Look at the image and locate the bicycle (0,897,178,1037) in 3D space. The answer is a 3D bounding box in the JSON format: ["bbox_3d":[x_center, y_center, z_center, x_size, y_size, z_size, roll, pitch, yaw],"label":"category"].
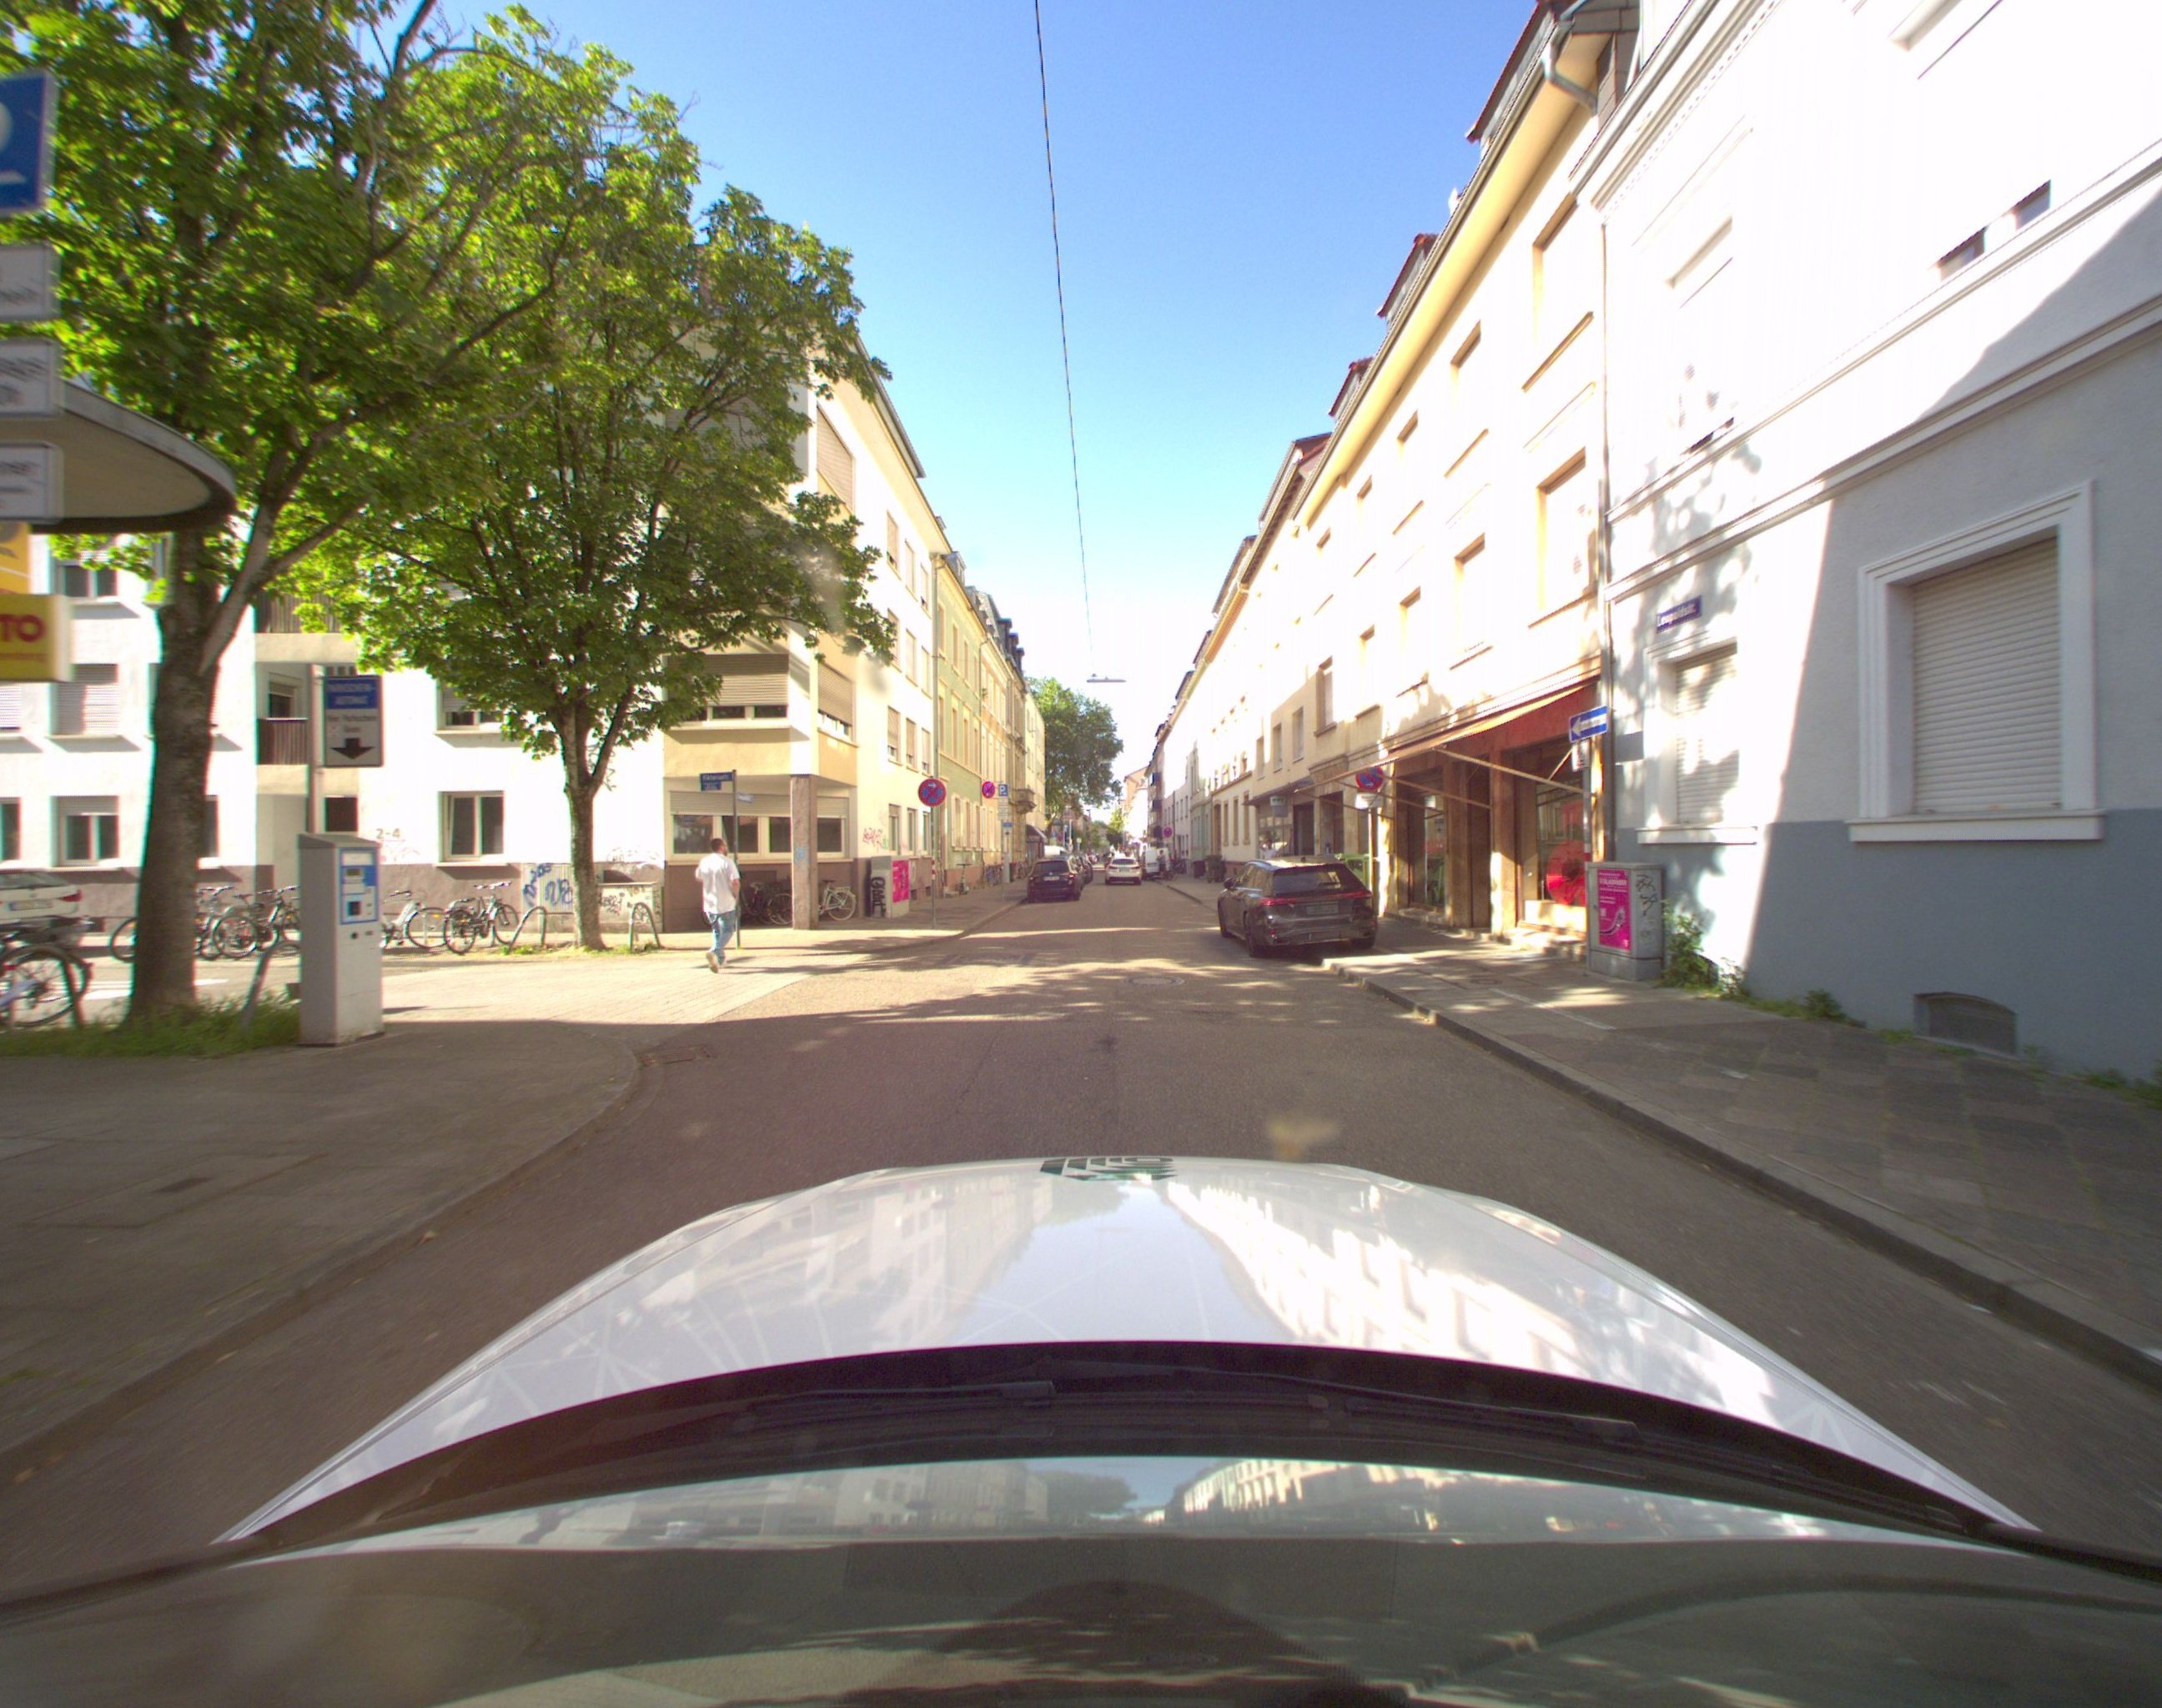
[{"bbox_3d":[-9.643,1.007,7.186,0.704,1.143,2.309,-1,-1,3],"label":"bicycle"}]

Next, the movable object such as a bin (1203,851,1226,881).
[{"bbox_3d":[6.493,0.602,39.710,0.834,1.389,1.297,-3,-2,0],"label":"movable object such as a bin"}]

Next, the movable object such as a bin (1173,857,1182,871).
[{"bbox_3d":[7.352,0.755,62.101,0.614,1.062,0.603,-2,0,1],"label":"movable object such as a bin"}]

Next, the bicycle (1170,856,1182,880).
[{"bbox_3d":[5.413,0.789,46.475,0.572,1.271,2.202,-3,0,6],"label":"bicycle"}]

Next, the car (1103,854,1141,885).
[{"bbox_3d":[2.100,0.797,42.725,1.817,1.514,3.824,-1,0,1],"label":"car"}]

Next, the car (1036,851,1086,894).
[{"bbox_3d":[-0.780,0.734,34.821,1.737,1.615,4.606,-2,0,3],"label":"car"}]

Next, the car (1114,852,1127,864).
[{"bbox_3d":[6.473,0.631,134.864,1.937,1.948,4.076,0,0,-1],"label":"car"}]

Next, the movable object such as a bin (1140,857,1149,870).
[{"bbox_3d":[5.625,0.835,72.072,0.729,1.081,0.704,-1,-1,2],"label":"movable object such as a bin"}]

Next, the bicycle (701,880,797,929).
[{"bbox_3d":[-6.981,1.040,17.210,0.378,0.913,1.875,-2,0,42],"label":"bicycle"}]

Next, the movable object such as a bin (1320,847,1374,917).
[{"bbox_3d":[5.822,0.590,17.899,0.743,1.436,1.373,-3,0,3],"label":"movable object such as a bin"}]

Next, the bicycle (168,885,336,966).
[{"bbox_3d":[-13.818,1.154,13.676,0.676,1.066,1.998,-1,3,1],"label":"bicycle"}]

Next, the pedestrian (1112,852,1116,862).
[{"bbox_3d":[6.671,0.608,164.868,0.768,2.118,0.835,-1,-1,2],"label":"pedestrian"}]

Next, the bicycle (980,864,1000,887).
[{"bbox_3d":[-4.193,0.965,37.690,0.358,1.028,1.923,-1,-1,11],"label":"bicycle"}]

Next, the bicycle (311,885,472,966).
[{"bbox_3d":[-11.246,1.128,13.412,0.637,1.029,2.185,-1,3,4],"label":"bicycle"}]

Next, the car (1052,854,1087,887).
[{"bbox_3d":[-0.547,0.771,40.615,1.610,1.554,3.978,-1,0,1],"label":"car"}]

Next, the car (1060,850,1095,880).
[{"bbox_3d":[-0.161,0.675,50.900,1.929,1.736,5.144,-2,0,2],"label":"car"}]

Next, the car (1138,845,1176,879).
[{"bbox_3d":[4.797,0.471,52.132,1.976,1.883,5.601,-4,0,1],"label":"car"}]

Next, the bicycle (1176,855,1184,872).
[{"bbox_3d":[7.193,0.685,59.136,0.435,1.206,2.271,-1,-1,9],"label":"bicycle"}]

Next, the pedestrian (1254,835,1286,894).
[{"bbox_3d":[6.153,0.336,26.556,0.650,1.860,0.744,-3,0,-20],"label":"pedestrian"}]

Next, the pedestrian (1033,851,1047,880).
[{"bbox_3d":[-2.451,0.661,48.314,0.762,1.714,0.883,1,0,1],"label":"pedestrian"}]

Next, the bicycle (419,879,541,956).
[{"bbox_3d":[-10.073,1.028,13.749,0.480,1.101,2.063,-1,1,1],"label":"bicycle"}]

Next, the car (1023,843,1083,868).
[{"bbox_3d":[-3.235,0.182,95.063,6.711,2.555,2.147,2,-1,3],"label":"car"}]

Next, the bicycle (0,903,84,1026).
[{"bbox_3d":[-10.316,1.036,6.984,0.520,1.118,2.404,-1,-1,2],"label":"bicycle"}]

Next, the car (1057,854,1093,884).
[{"bbox_3d":[-0.293,0.802,45.380,1.706,1.531,4.370,-2,0,3],"label":"car"}]

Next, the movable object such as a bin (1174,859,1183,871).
[{"bbox_3d":[7.359,0.822,61.490,0.575,0.924,0.608,-3,-1,2],"label":"movable object such as a bin"}]

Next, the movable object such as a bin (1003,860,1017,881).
[{"bbox_3d":[-3.856,0.883,44.367,0.733,1.089,0.682,-1,1,-2],"label":"movable object such as a bin"}]

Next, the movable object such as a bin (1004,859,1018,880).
[{"bbox_3d":[-3.854,0.859,44.989,0.717,1.132,0.584,-1,-1,-2],"label":"movable object such as a bin"}]

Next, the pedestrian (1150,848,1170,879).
[{"bbox_3d":[4.726,0.546,48.573,0.857,1.836,0.889,-2,-1,34],"label":"pedestrian"}]

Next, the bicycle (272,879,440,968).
[{"bbox_3d":[-11.908,1.086,13.513,0.500,1.185,2.440,-2,2,1],"label":"bicycle"}]

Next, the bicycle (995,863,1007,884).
[{"bbox_3d":[-4.028,0.967,41.039,0.401,1.056,1.835,-1,-1,-1],"label":"bicycle"}]

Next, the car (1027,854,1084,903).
[{"bbox_3d":[-0.827,0.806,28.959,1.708,1.488,4.853,-3,0,1],"label":"car"}]

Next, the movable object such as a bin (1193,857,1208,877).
[{"bbox_3d":[6.769,0.735,46.301,0.793,1.096,0.642,-1,-1,3],"label":"movable object such as a bin"}]

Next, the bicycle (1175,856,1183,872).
[{"bbox_3d":[7.216,0.708,60.225,0.565,1.153,1.871,-1,-1,6],"label":"bicycle"}]

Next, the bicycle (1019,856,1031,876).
[{"bbox_3d":[-3.485,0.751,50.982,0.508,1.277,1.868,-1,-1,3],"label":"bicycle"}]

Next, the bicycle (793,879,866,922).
[{"bbox_3d":[-5.649,1.023,18.337,0.426,0.882,1.579,1,1,41],"label":"bicycle"}]

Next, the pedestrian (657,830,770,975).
[{"bbox_3d":[-4.909,0.625,10.971,0.907,1.833,1.246,-1,-1,1],"label":"pedestrian"}]

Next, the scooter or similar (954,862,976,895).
[{"bbox_3d":[-4.364,0.905,30.697,0.452,1.181,1.693,-1,-1,5],"label":"scooter or similar"}]

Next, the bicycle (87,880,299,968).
[{"bbox_3d":[-14.914,1.127,13.829,0.831,1.146,2.424,-1,3,1],"label":"bicycle"}]

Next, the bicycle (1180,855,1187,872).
[{"bbox_3d":[7.271,0.666,57.798,0.403,1.206,2.162,-1,-1,5],"label":"bicycle"}]

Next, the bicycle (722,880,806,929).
[{"bbox_3d":[-6.603,1.032,17.017,0.399,0.897,1.595,-2,0,42],"label":"bicycle"}]

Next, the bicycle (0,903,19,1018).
[{"bbox_3d":[-10.913,1.043,6.934,0.705,1.127,2.425,-1,-1,-6],"label":"bicycle"}]

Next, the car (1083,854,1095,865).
[{"bbox_3d":[1.322,0.848,131.746,1.763,1.589,3.727,-1,1,1],"label":"car"}]

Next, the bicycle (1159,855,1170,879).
[{"bbox_3d":[4.747,0.725,46.166,0.572,1.320,2.202,-2,0,5],"label":"bicycle"}]

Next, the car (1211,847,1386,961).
[{"bbox_3d":[3.401,0.700,13.734,1.794,1.579,4.899,0,0,2],"label":"car"}]

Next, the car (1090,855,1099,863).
[{"bbox_3d":[2.727,1.046,163.954,1.566,1.585,3.613,-1,-1,2],"label":"car"}]

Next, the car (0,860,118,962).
[{"bbox_3d":[-19.625,0.981,13.855,4.143,1.614,1.997,-1,1,2],"label":"car"}]

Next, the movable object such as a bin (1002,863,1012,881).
[{"bbox_3d":[-3.973,0.952,43.639,0.471,0.937,0.561,1,0,-1],"label":"movable object such as a bin"}]
